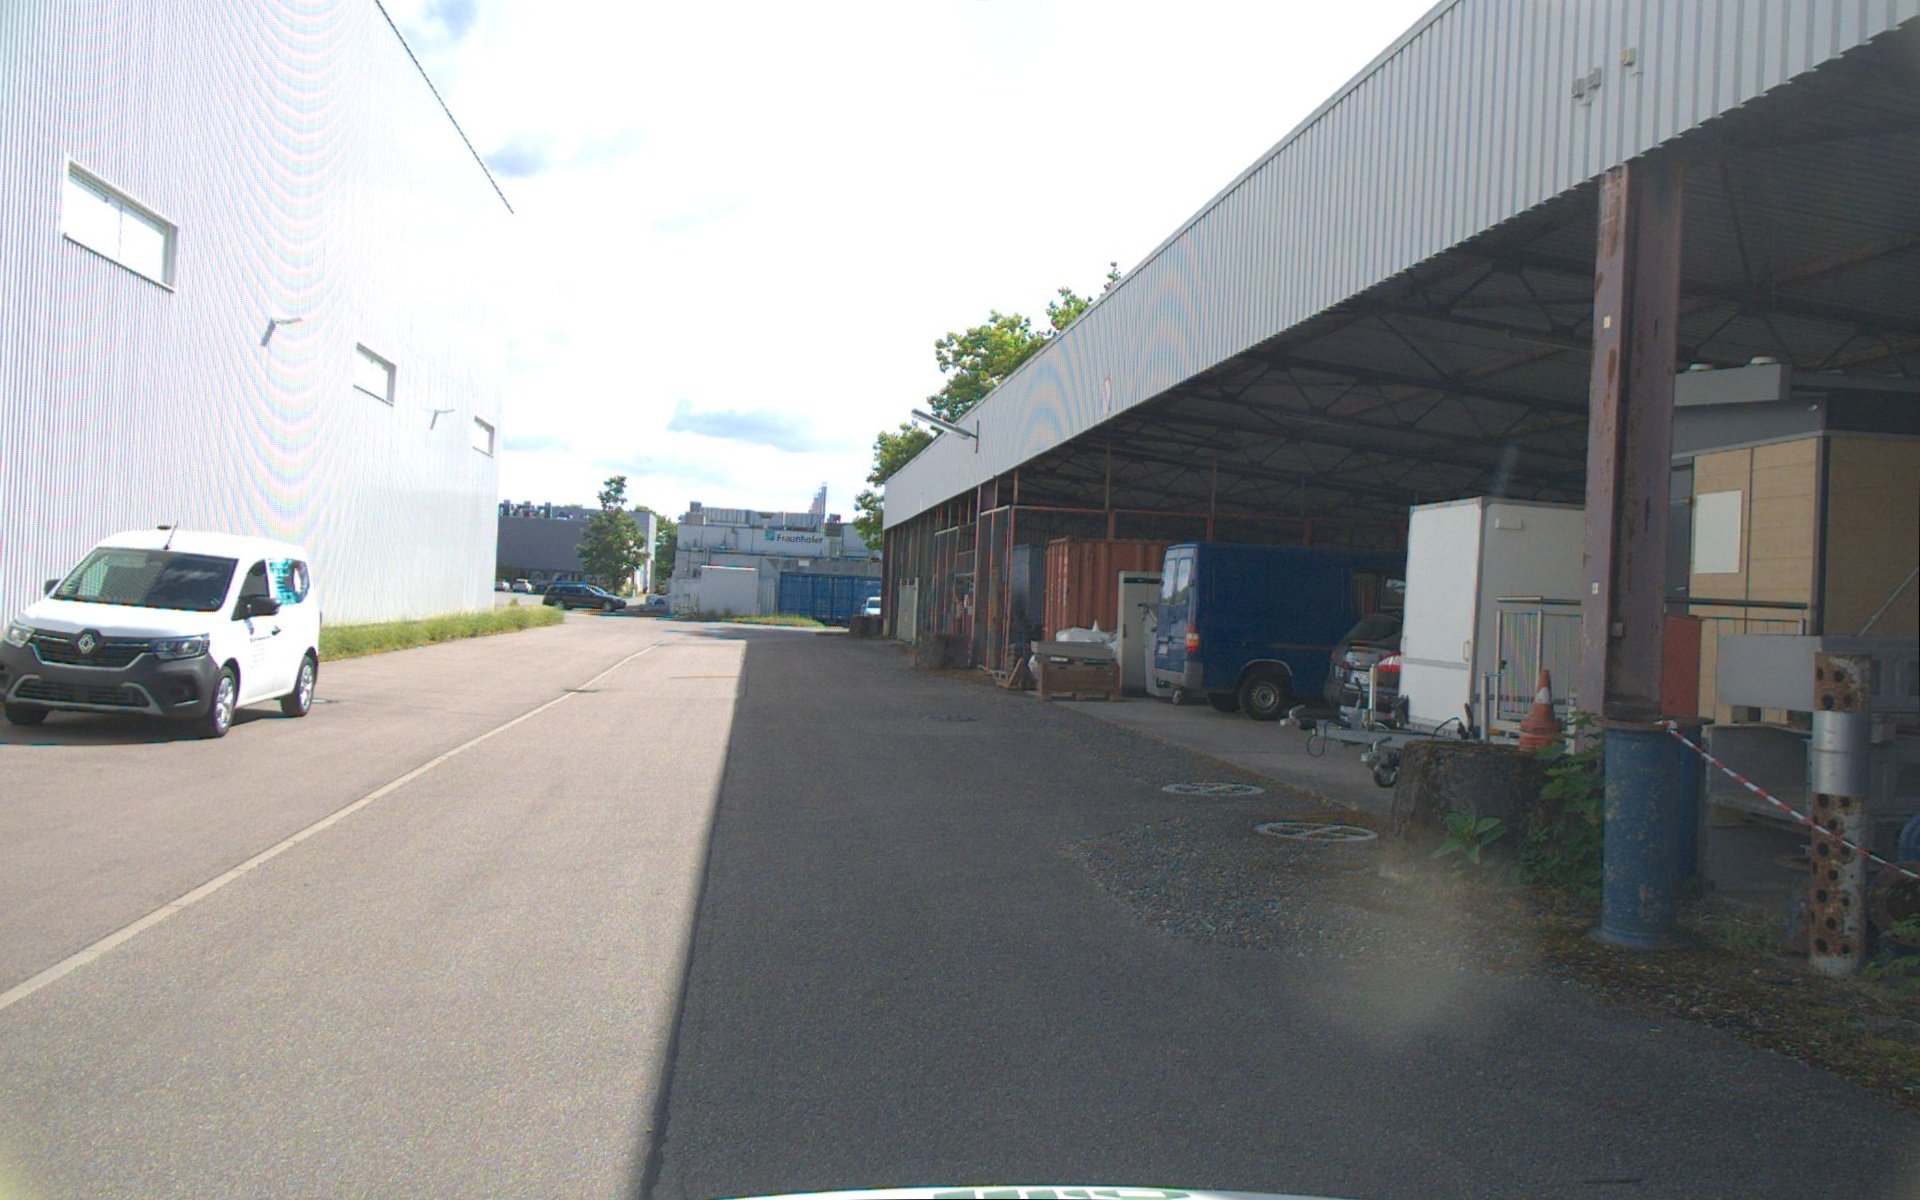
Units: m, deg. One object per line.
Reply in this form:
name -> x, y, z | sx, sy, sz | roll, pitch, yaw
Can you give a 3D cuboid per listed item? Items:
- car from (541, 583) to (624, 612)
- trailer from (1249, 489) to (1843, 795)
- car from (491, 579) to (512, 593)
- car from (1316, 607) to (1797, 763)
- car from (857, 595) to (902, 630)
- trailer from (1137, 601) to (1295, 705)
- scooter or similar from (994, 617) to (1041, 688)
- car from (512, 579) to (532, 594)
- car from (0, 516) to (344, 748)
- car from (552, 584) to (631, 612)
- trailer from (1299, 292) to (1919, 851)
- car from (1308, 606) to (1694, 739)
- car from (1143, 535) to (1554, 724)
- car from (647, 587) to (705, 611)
car -> -22.056, -0.120, 96.793 | 4.444, 1.468, 1.984 | 3, -2, -8
trailer -> 4.865, 0.358, 14.018 | 4.455, 2.376, 1.686 | 1, 0, -7
car -> -52.658, -1.580, 190.075 | 1.843, 1.564, 4.026 | 1, 0, -10
car -> 5.984, 0.834, 16.792 | 4.266, 1.458, 1.860 | 1, 0, -11
car -> -4.242, 0.640, 86.602 | 1.944, 1.621, 4.333 | 3, 1, -8
trailer -> 3.898, 0.800, 25.432 | 2.053, 1.488, 1.640 | 2, -1, -5
scooter or similar -> 0.964, 0.878, 28.223 | 0.510, 1.154, 1.589 | 2, -1, -8
car -> -50.424, -1.539, 190.614 | 1.843, 1.564, 4.026 | 1, 0, -10
car -> -7.561, 0.250, 15.978 | 1.892, 1.821, 4.590 | 4, 0, -7
car -> -22.242, -0.122, 100.052 | 4.444, 1.468, 1.900 | 3, -2, -8
trailer -> 7.758, -0.089, 11.880 | 10.097, 3.353, 2.671 | 1, 0, -7
car -> 6.456, 0.844, 19.941 | 4.030, 1.479, 1.847 | 1, 0, -8
car -> 5.328, 0.414, 23.009 | 5.119, 2.337, 2.080 | 2, -1, -9
car -> -21.419, -0.060, 124.855 | 4.198, 1.596, 1.984 | 3, -2, -8
